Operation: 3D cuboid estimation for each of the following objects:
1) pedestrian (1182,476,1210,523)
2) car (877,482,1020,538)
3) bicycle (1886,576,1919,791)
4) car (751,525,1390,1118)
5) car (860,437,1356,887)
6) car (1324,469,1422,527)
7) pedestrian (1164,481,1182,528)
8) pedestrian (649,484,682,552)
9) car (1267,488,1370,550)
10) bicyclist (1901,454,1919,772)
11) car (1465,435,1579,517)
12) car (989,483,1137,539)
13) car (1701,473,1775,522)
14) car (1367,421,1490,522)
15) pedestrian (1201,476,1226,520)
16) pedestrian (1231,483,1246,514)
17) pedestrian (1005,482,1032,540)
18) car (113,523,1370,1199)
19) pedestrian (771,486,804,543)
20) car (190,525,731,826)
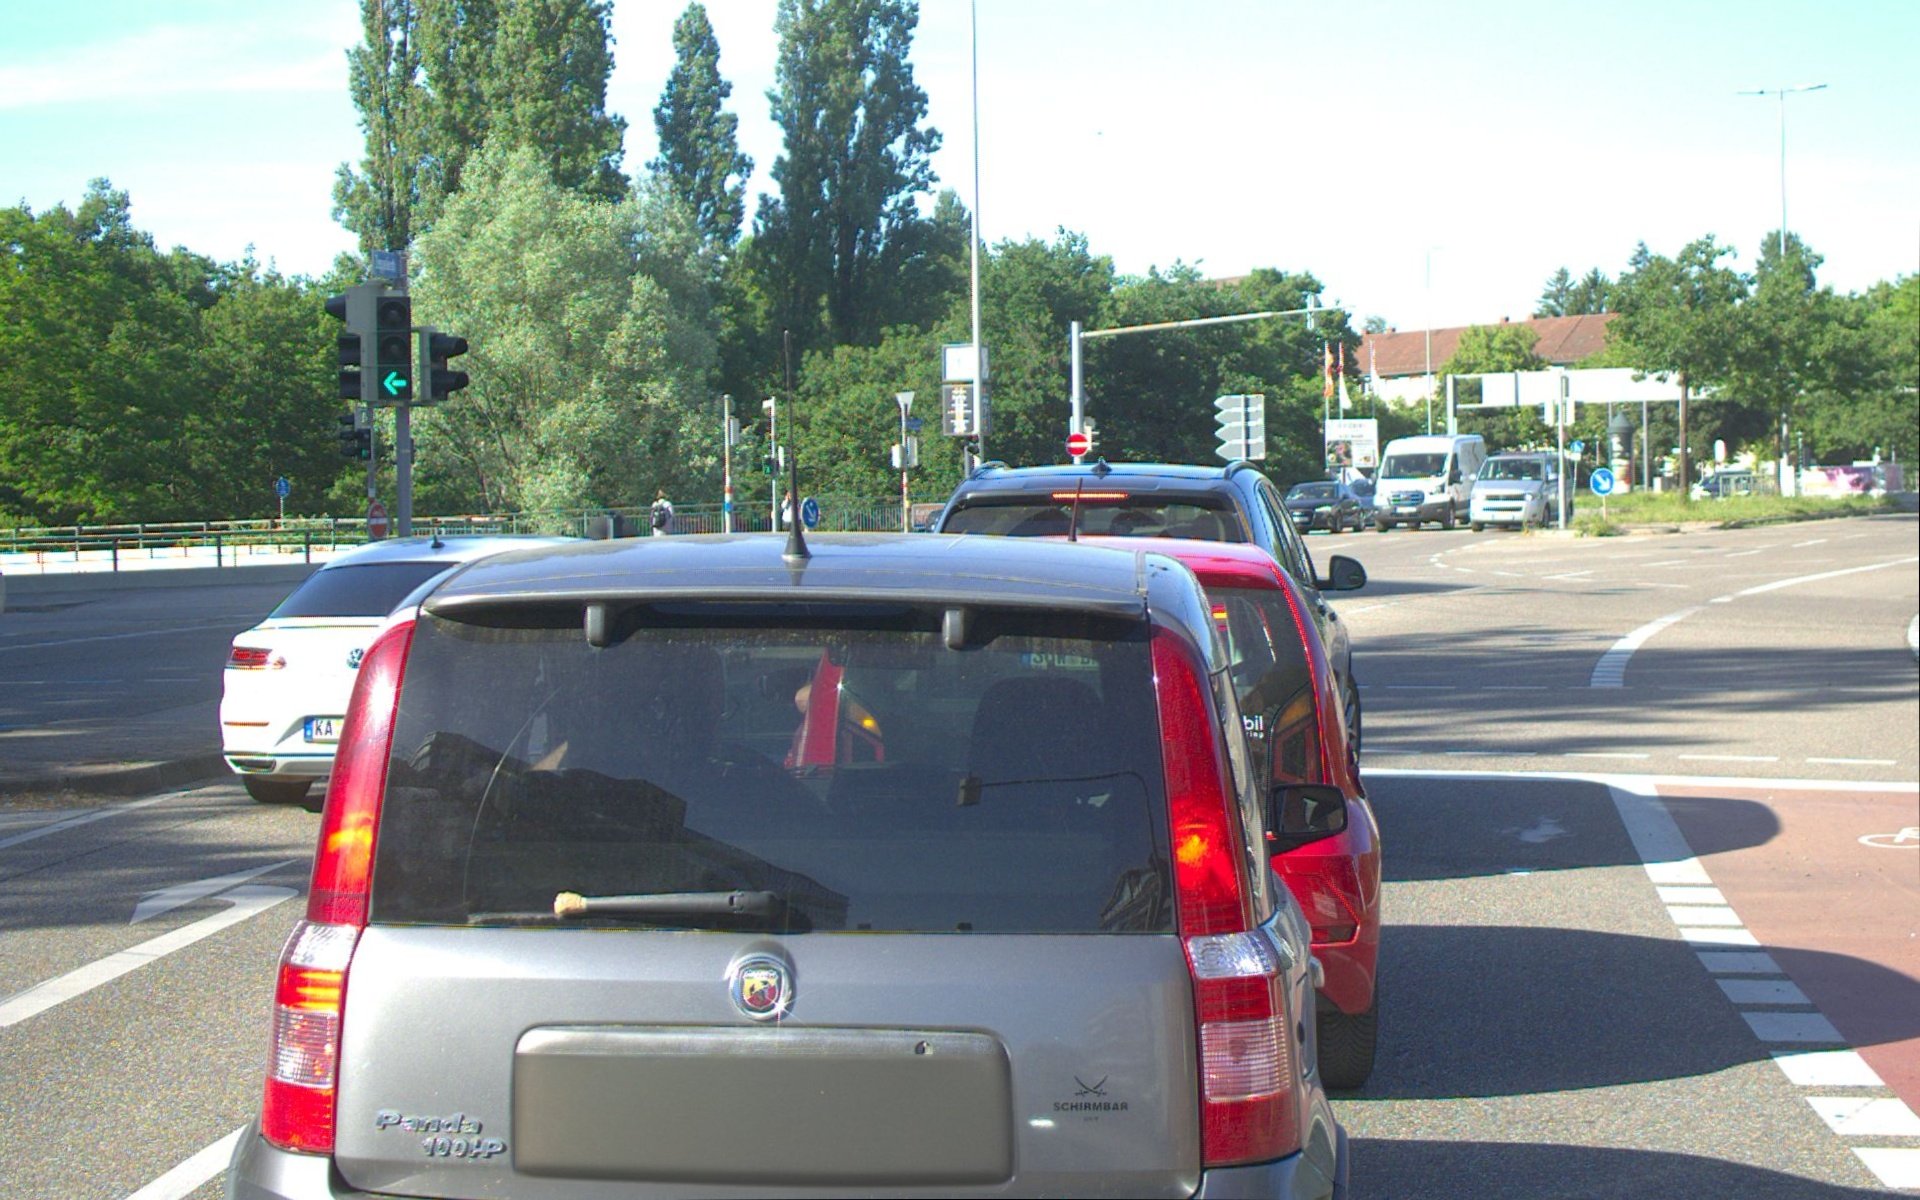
[{"bbox_3d":[8.525,-3.624,124.232,0.791,1.658,0.628,1,1,40],"label":"pedestrian"},{"bbox_3d":[-0.336,-2.707,104.139,3.988,1.619,1.900,0,1,-38],"label":"car"},{"bbox_3d":[5.352,0.457,17.701,0.691,1.098,1.826,0,2,1],"label":"bicycle"},{"bbox_3d":[0.435,0.536,10.678,1.618,1.458,3.750,-1,2,5],"label":"car"},{"bbox_3d":[0.838,0.187,16.172,1.946,1.833,4.152,-1,2,8],"label":"car"},{"bbox_3d":[11.831,-2.933,98.338,1.812,1.536,4.613,-2,2,19],"label":"car"},{"bbox_3d":[7.729,-3.463,124.803,0.499,1.696,0.499,1,0,24],"label":"pedestrian"},{"bbox_3d":[-6.418,-1.798,74.892,0.679,1.458,0.703,-1,2,-6],"label":"pedestrian"},{"bbox_3d":[9.594,-2.178,91.748,1.938,1.502,3.997,-2,2,17],"label":"car"},{"bbox_3d":[5.356,0.075,17.681,0.724,1.654,1.113,0,2,1],"label":"bicyclist"},{"bbox_3d":[14.209,-3.140,86.753,1.938,2.001,4.927,0,2,20],"label":"car"},{"bbox_3d":[3.078,-2.660,101.921,4.317,1.530,1.784,-3,4,-41],"label":"car"},{"bbox_3d":[27.263,-3.601,120.382,1.938,1.616,4.502,0,2,20],"label":"car"},{"bbox_3d":[12.413,-3.405,90.739,1.938,2.567,6.083,0,2,20],"label":"car"},{"bbox_3d":[9.499,-3.806,128.626,0.721,1.635,0.671,1,0,25],"label":"pedestrian"},{"bbox_3d":[10.406,-3.796,128.535,0.424,1.132,0.397,1,0,25],"label":"pedestrian"},{"bbox_3d":[1.573,-2.385,92.556,0.556,1.542,0.576,-2,1,-16],"label":"pedestrian"},{"bbox_3d":[-0.127,0.651,6.333,1.618,1.510,3.819,-1,2,5],"label":"car"},{"bbox_3d":[-4.810,-2.383,95.837,0.709,1.542,0.729,-2,0,-16],"label":"pedestrian"},{"bbox_3d":[-2.614,0.322,19.095,1.781,1.410,4.318,0,2,9],"label":"car"}]
